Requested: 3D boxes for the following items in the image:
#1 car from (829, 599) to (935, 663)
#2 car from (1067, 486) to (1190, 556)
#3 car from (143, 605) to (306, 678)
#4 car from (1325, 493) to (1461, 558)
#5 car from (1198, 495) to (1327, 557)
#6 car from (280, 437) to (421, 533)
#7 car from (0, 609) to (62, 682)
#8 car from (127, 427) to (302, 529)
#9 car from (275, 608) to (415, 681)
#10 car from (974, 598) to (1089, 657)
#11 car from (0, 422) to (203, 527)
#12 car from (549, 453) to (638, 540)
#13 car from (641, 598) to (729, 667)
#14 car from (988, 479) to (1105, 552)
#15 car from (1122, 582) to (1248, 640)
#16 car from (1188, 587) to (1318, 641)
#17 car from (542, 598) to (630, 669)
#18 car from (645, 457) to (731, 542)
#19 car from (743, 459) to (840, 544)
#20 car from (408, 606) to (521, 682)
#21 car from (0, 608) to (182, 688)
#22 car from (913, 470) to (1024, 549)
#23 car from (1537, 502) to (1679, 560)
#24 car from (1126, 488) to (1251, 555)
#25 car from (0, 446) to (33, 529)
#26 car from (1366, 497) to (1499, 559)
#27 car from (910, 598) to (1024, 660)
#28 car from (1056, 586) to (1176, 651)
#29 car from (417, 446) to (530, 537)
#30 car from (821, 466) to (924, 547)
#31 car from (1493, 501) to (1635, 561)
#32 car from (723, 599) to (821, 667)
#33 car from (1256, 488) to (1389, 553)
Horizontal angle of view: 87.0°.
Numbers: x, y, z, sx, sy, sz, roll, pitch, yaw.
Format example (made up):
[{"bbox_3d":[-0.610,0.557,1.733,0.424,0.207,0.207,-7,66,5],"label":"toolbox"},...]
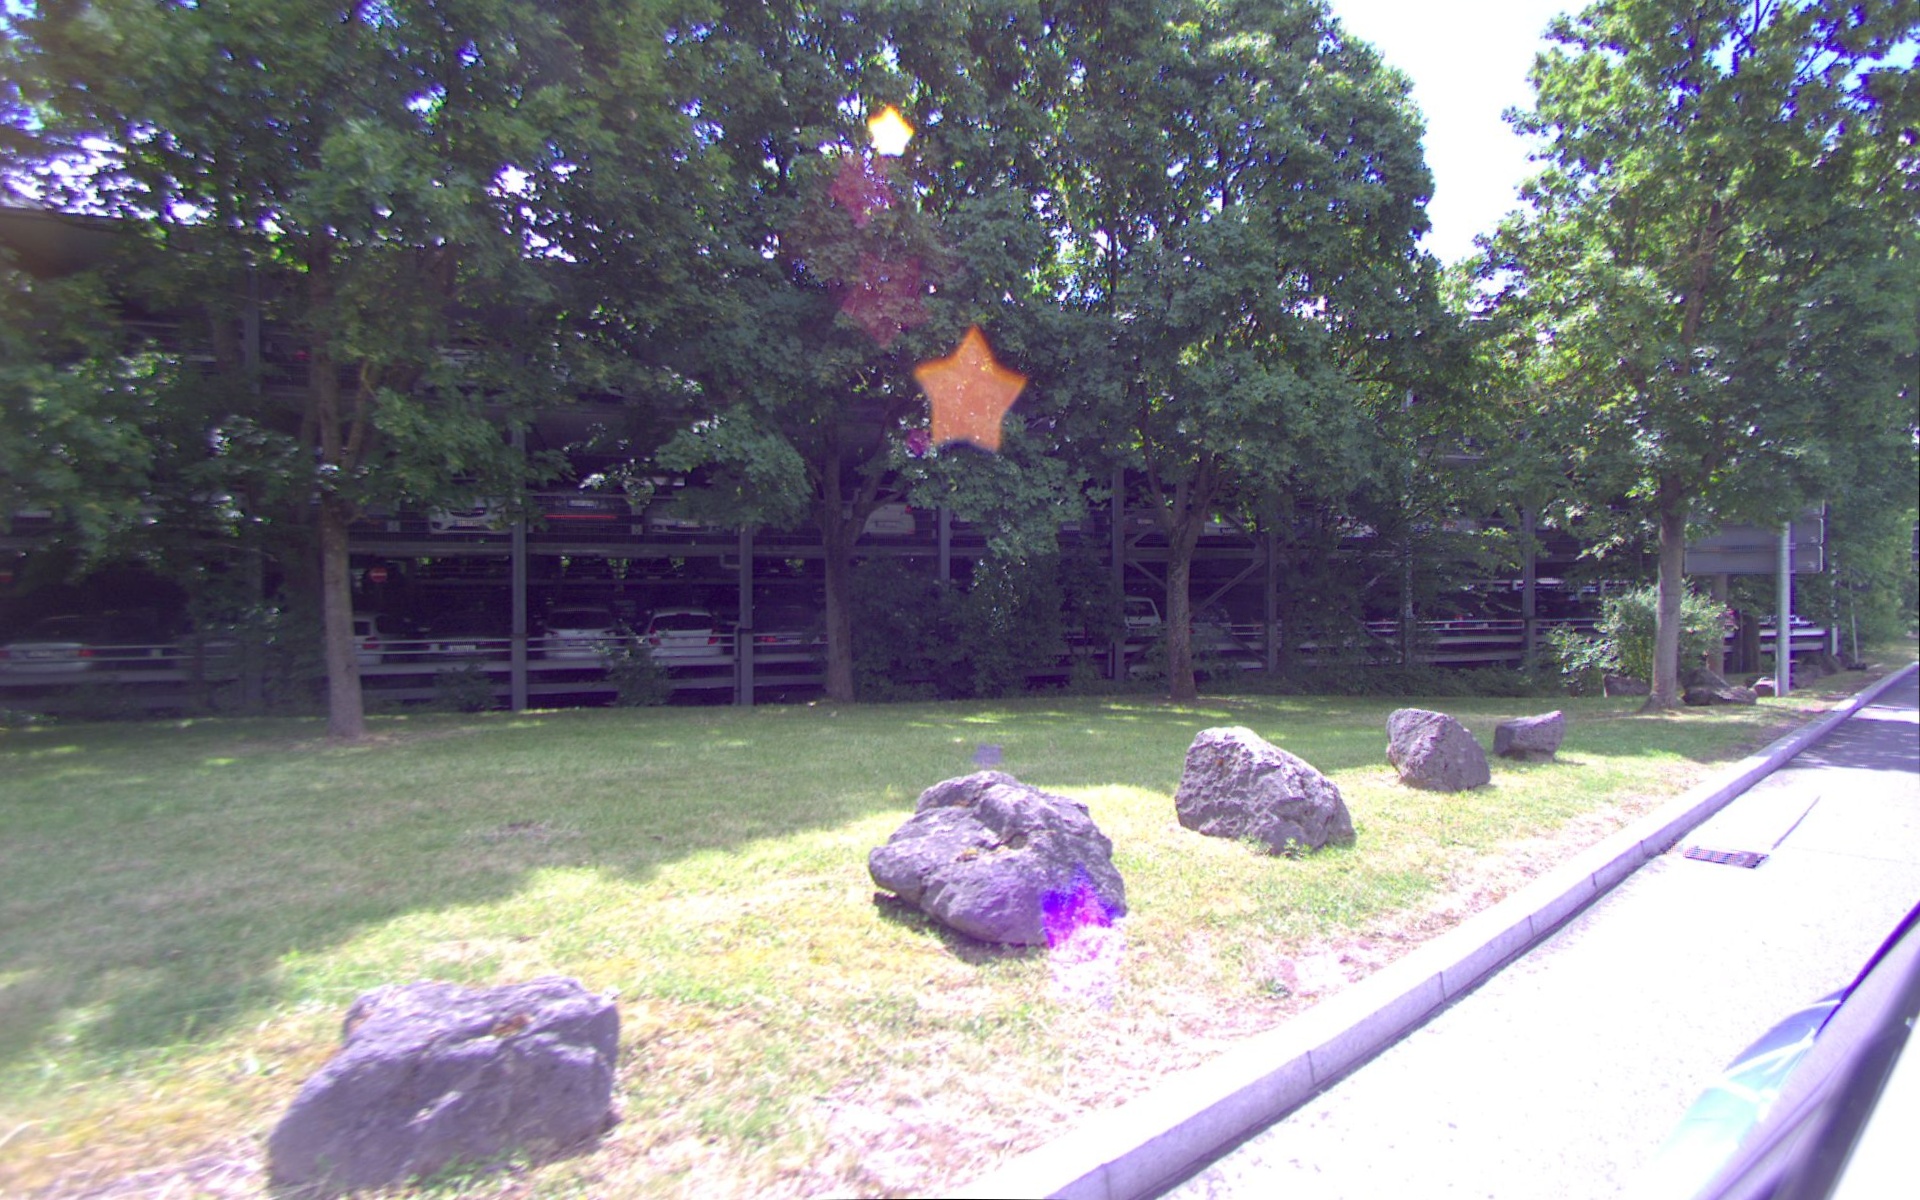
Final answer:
[{"bbox_3d":[-2.024,0.725,25.355,1.739,1.409,3.806,0,1,-19],"label":"car"},{"bbox_3d":[4.419,-2.046,27.121,1.691,1.561,3.712,2,0,-18],"label":"car"},{"bbox_3d":[-15.396,0.808,21.418,1.739,1.308,3.806,0,1,-19],"label":"car"},{"bbox_3d":[12.811,-2.169,30.177,1.624,1.640,3.712,2,0,-18],"label":"car"},{"bbox_3d":[8.454,-2.037,28.609,1.624,1.449,3.712,2,0,-18],"label":"car"},{"bbox_3d":[-12.743,-2.343,21.401,1.691,1.561,3.712,2,0,-18],"label":"car"},{"bbox_3d":[-18.987,0.874,19.078,1.739,1.308,3.806,0,1,-19],"label":"car"},{"bbox_3d":[-14.766,-2.338,20.282,1.691,1.561,3.712,2,0,-18],"label":"car"},{"bbox_3d":[-12.889,0.866,21.435,1.739,1.308,3.806,0,1,-19],"label":"car"},{"bbox_3d":[1.805,0.672,26.869,1.659,1.409,3.866,0,1,-19],"label":"car"},{"bbox_3d":[-16.652,-2.363,19.867,1.691,1.561,3.712,2,0,-18],"label":"car"},{"bbox_3d":[-8.302,-2.277,23.147,1.691,1.561,3.712,2,0,-18],"label":"car"},{"bbox_3d":[-6.499,0.699,23.661,1.739,1.409,3.806,0,1,-19],"label":"car"},{"bbox_3d":[2.176,-2.146,26.497,1.691,1.561,3.712,2,0,-18],"label":"car"},{"bbox_3d":[6.187,0.257,28.292,1.659,1.508,3.866,0,1,-19],"label":"car"},{"bbox_3d":[8.282,0.356,28.953,1.659,1.409,3.866,0,1,-19],"label":"car"},{"bbox_3d":[-8.462,0.701,23.073,1.739,1.409,3.806,0,1,-19],"label":"car"},{"bbox_3d":[-6.395,-2.252,23.565,1.691,1.561,3.712,2,0,-18],"label":"car"},{"bbox_3d":[-4.107,-2.269,24.243,1.691,1.640,3.712,2,0,-18],"label":"car"},{"bbox_3d":[-10.653,0.873,21.994,1.739,1.409,3.806,0,1,-19],"label":"car"},{"bbox_3d":[-17.062,0.864,19.829,1.739,1.308,3.806,0,1,-19],"label":"car"},{"bbox_3d":[0.138,-2.222,25.800,1.691,1.640,3.712,2,0,-18],"label":"car"},{"bbox_3d":[21.362,-2.228,33.521,1.624,1.662,3.712,2,0,-18],"label":"car"},{"bbox_3d":[6.308,-2.134,28.315,1.691,1.561,3.712,2,0,-18],"label":"car"},{"bbox_3d":[-19.287,-2.234,18.735,1.691,1.561,3.712,2,0,-18],"label":"car"},{"bbox_3d":[14.678,-2.194,31.655,1.624,1.640,3.712,2,0,-18],"label":"car"},{"bbox_3d":[0.090,0.677,25.899,1.739,1.409,3.866,0,1,-19],"label":"car"},{"bbox_3d":[4.231,0.465,28.032,1.659,1.646,3.866,0,1,-19],"label":"car"},{"bbox_3d":[-10.503,-2.278,22.083,1.691,1.561,3.712,2,0,-18],"label":"car"},{"bbox_3d":[-2.260,-2.247,25.136,1.691,1.640,3.712,2,0,-18],"label":"car"},{"bbox_3d":[19.225,-2.161,32.399,1.624,1.640,3.712,2,0,-18],"label":"car"},{"bbox_3d":[-4.543,0.726,24.086,1.739,1.409,3.806,0,1,-19],"label":"car"},{"bbox_3d":[10.348,-2.228,29.185,1.624,1.582,3.712,2,0,-18],"label":"car"}]
